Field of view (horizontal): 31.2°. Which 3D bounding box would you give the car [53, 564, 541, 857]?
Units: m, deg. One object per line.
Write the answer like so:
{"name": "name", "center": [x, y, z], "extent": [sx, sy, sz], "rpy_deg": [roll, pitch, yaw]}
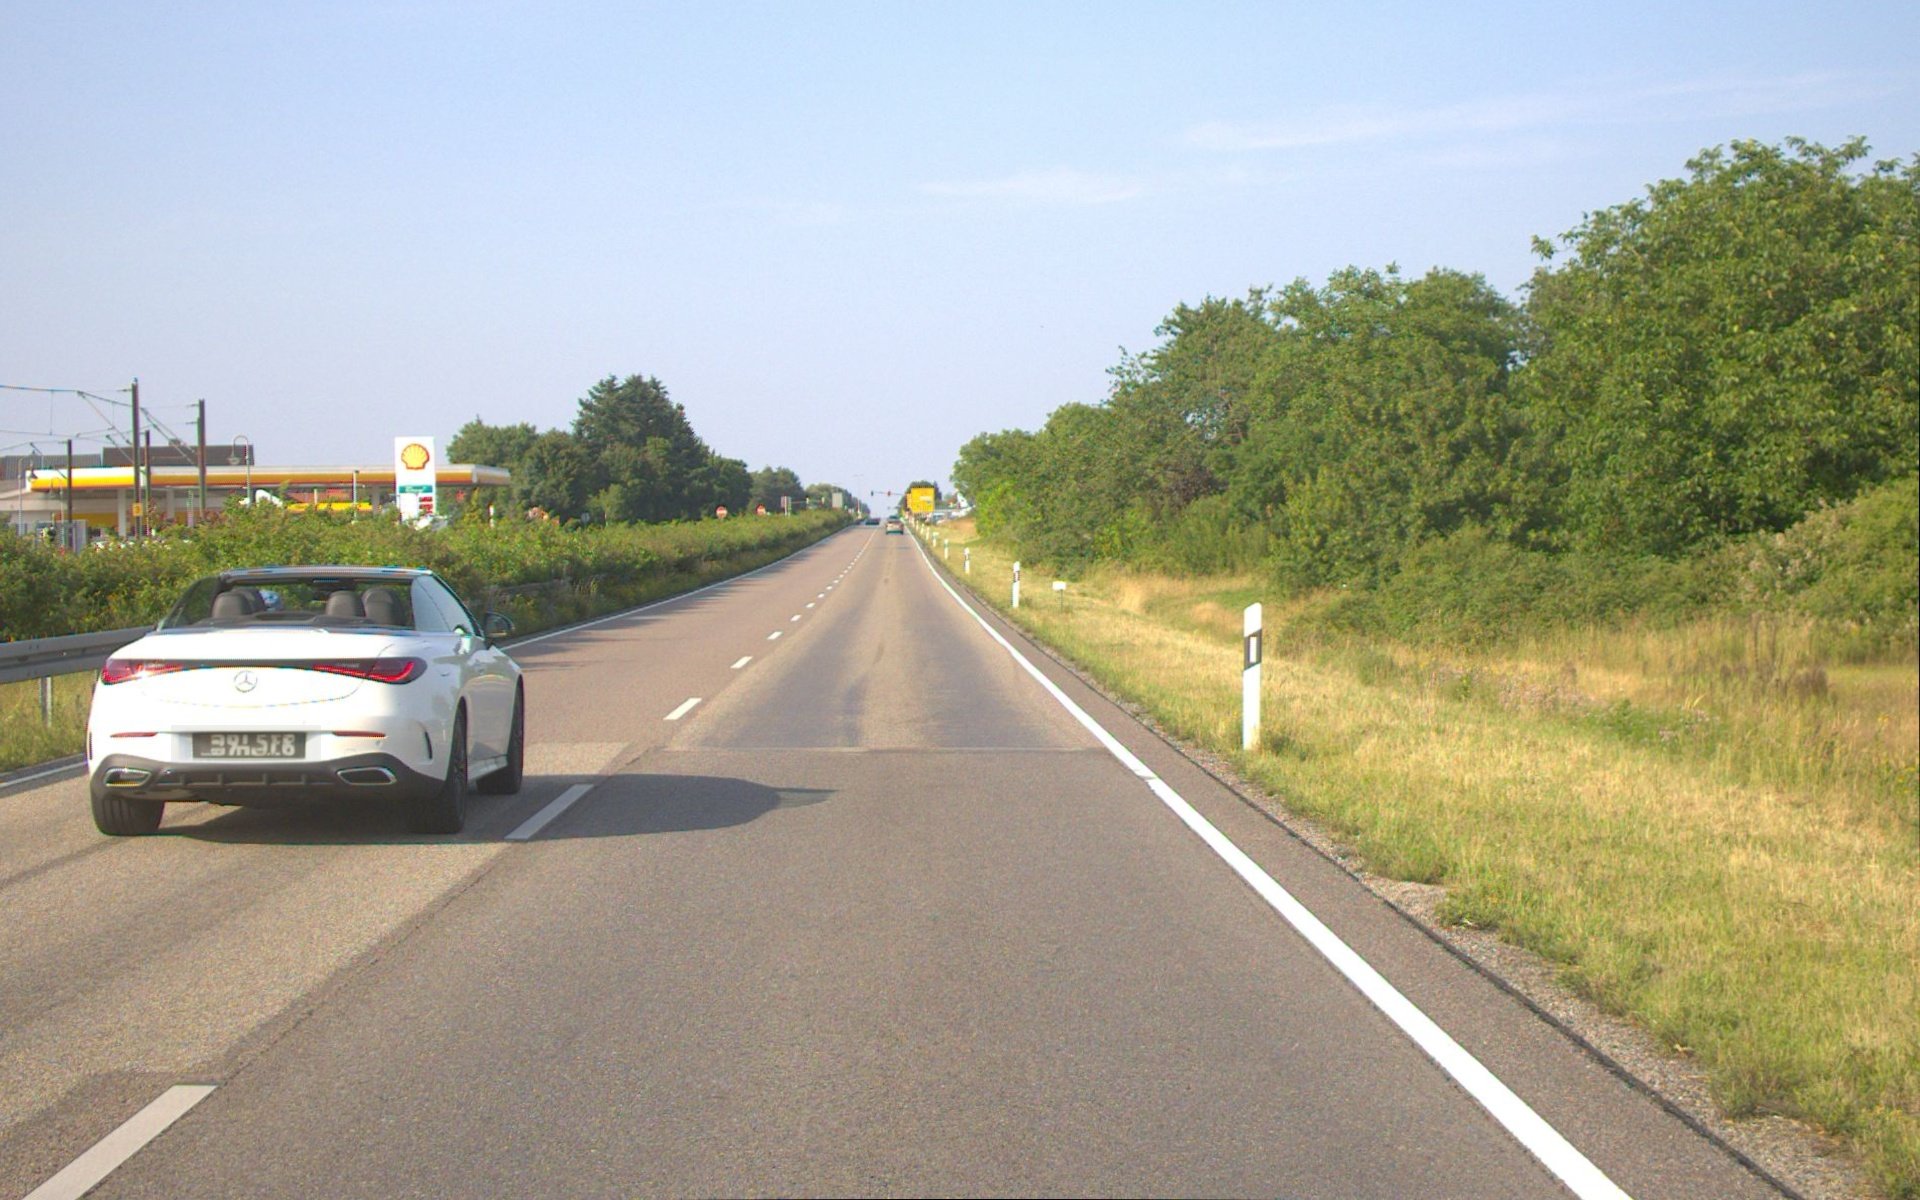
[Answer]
{"name": "car", "center": [-3.468, 0.501, 18.880], "extent": [1.771, 1.333, 4.950], "rpy_deg": [1, 1, -1]}
